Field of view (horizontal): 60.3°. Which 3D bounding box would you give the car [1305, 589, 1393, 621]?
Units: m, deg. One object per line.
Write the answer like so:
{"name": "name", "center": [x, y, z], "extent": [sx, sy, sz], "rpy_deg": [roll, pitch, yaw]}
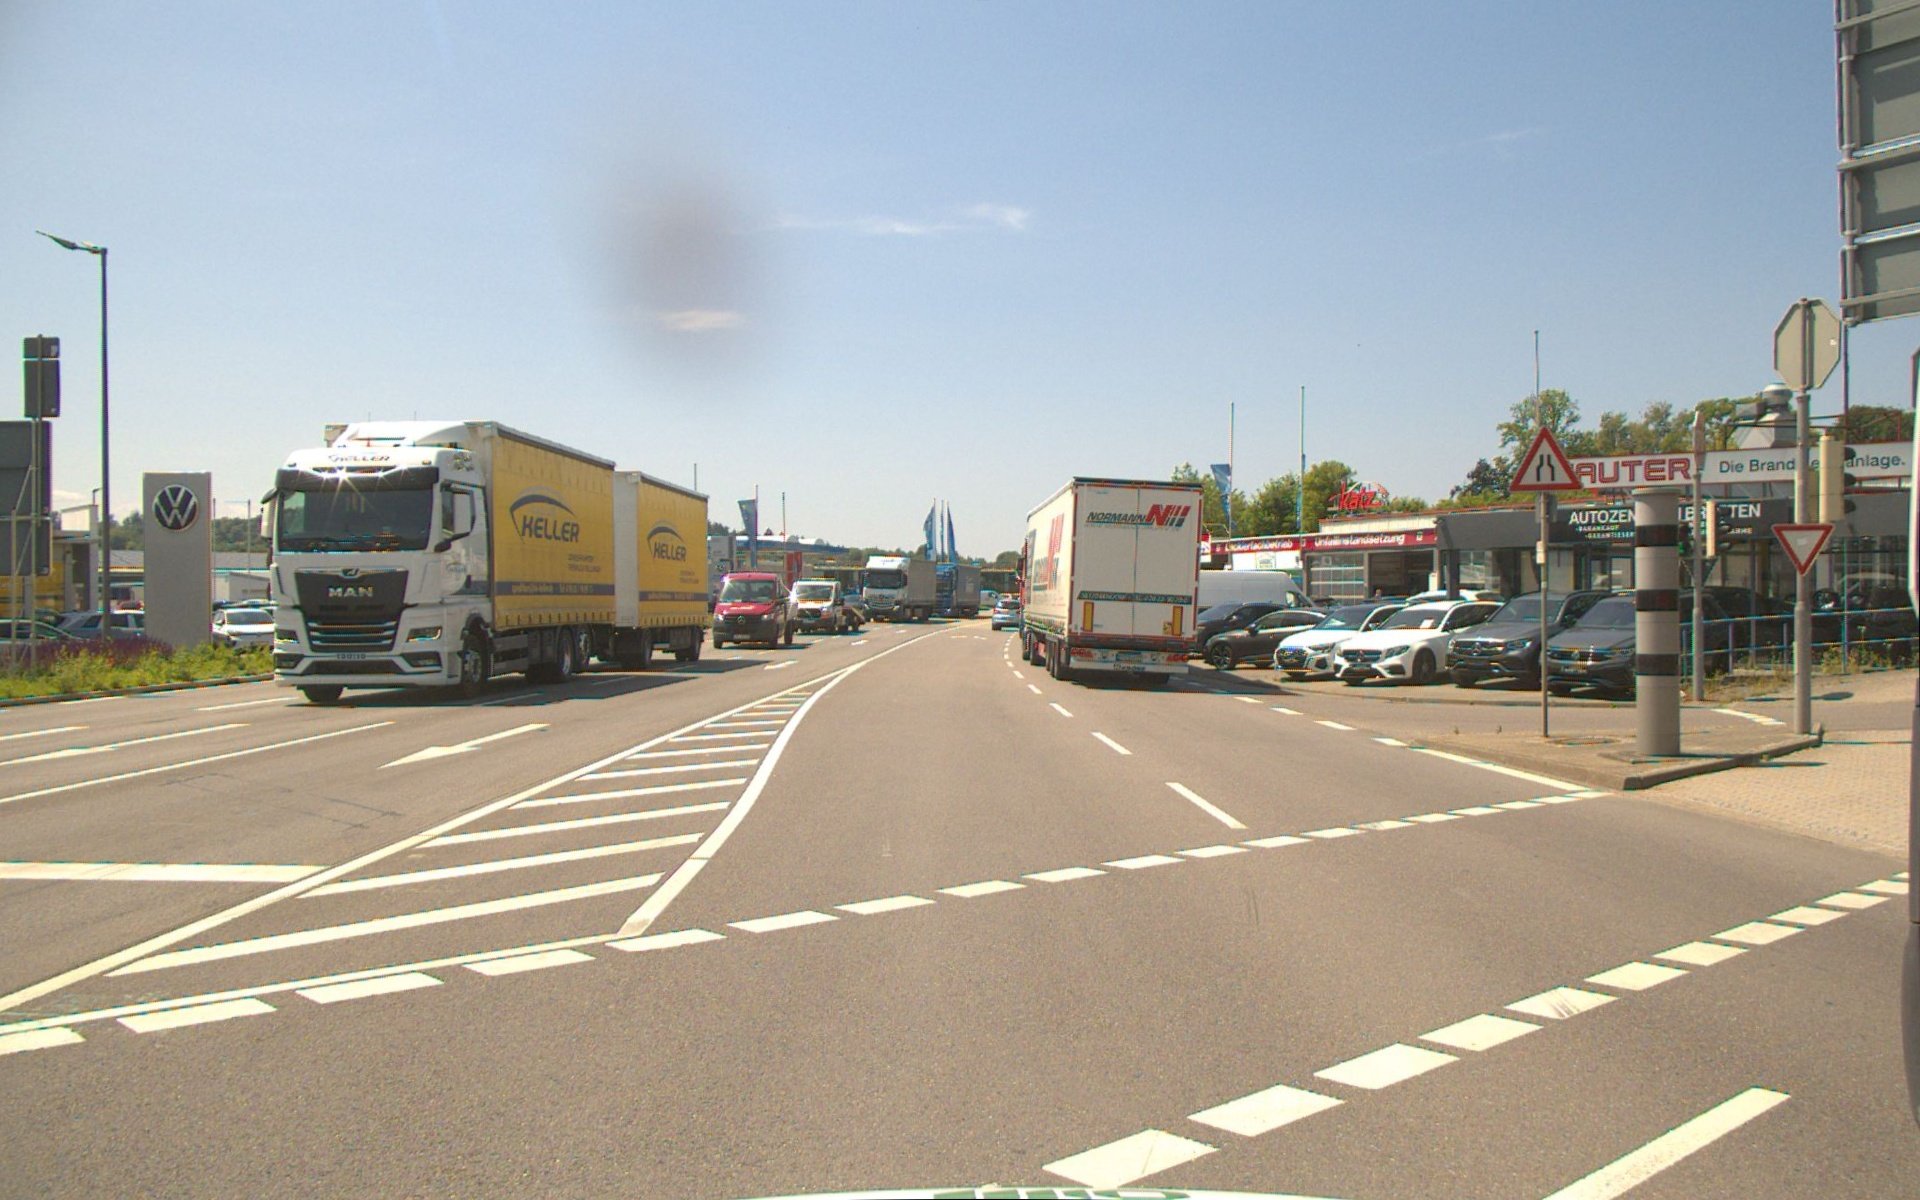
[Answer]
{"name": "car", "center": [17.500, 0.211, 74.471], "extent": [3.536, 1.398, 1.667], "rpy_deg": [1, 0, -21]}

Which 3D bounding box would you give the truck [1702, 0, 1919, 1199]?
{"name": "truck", "center": [3.533, -0.475, 1.284], "extent": [2.913, 4.080, 6.326], "rpy_deg": [-3, 0, -1]}

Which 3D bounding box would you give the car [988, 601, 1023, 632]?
{"name": "car", "center": [2.483, 0.916, 91.001], "extent": [1.884, 1.638, 4.095], "rpy_deg": [-1, 0, 1]}

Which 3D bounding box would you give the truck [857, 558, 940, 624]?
{"name": "truck", "center": [-3.819, -0.502, 108.350], "extent": [2.731, 3.957, 16.495], "rpy_deg": [0, 0, 7]}

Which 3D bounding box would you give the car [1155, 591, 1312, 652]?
{"name": "car", "center": [8.232, 0.619, 49.788], "extent": [4.273, 1.653, 2.044], "rpy_deg": [-2, 0, -26]}

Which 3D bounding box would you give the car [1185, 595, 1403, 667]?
{"name": "car", "center": [7.886, 0.764, 39.430], "extent": [1.913, 1.411, 4.857], "rpy_deg": [-3, -2, -43]}

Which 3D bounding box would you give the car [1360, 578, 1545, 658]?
{"name": "car", "center": [12.444, 0.481, 41.964], "extent": [1.840, 1.744, 4.083], "rpy_deg": [-2, -2, -43]}

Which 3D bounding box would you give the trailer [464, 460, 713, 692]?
{"name": "trailer", "center": [-7.867, -0.474, 36.682], "extent": [2.949, 4.362, 10.060], "rpy_deg": [-1, 0, 1]}

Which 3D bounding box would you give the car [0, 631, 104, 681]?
{"name": "car", "center": [-22.519, 1.332, 39.516], "extent": [1.531, 1.087, 3.359], "rpy_deg": [-1, 0, 34]}

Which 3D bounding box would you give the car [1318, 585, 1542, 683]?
{"name": "car", "center": [9.495, 0.639, 33.236], "extent": [4.695, 1.579, 1.972], "rpy_deg": [-5, 1, -39]}

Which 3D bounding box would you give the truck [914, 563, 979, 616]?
{"name": "truck", "center": [-0.908, -0.733, 130.190], "extent": [2.783, 3.957, 17.018], "rpy_deg": [0, 0, 7]}

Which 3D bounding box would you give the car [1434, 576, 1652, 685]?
{"name": "car", "center": [11.018, 0.534, 31.174], "extent": [4.131, 1.721, 1.860], "rpy_deg": [-4, 1, -37]}

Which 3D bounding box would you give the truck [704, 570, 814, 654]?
{"name": "truck", "center": [-6.335, 0.374, 52.941], "extent": [2.346, 2.487, 6.874], "rpy_deg": [0, 0, 3]}

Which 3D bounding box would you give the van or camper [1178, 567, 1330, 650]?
{"name": "van or camper", "center": [10.763, 0.307, 60.836], "extent": [5.256, 2.956, 2.233], "rpy_deg": [-1, 0, 3]}

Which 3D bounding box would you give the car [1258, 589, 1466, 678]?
{"name": "car", "center": [8.705, 0.693, 35.710], "extent": [4.420, 1.433, 1.727], "rpy_deg": [-6, 2, -32]}

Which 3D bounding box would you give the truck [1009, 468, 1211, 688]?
{"name": "truck", "center": [3.110, -0.424, 40.270], "extent": [2.913, 4.165, 17.629], "rpy_deg": [0, 0, -1]}

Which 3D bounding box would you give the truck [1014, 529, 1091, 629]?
{"name": "truck", "center": [3.850, -0.846, 71.336], "extent": [2.593, 3.873, 13.359], "rpy_deg": [-1, 0, 0]}

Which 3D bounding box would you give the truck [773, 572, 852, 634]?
{"name": "truck", "center": [-6.160, 0.110, 69.808], "extent": [2.374, 2.381, 5.678], "rpy_deg": [-3, 0, 4]}

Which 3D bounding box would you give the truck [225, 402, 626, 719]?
{"name": "truck", "center": [-8.190, -0.539, 27.283], "extent": [2.966, 4.177, 10.356], "rpy_deg": [-1, 0, 1]}

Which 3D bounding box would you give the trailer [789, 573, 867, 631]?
{"name": "trailer", "center": [-5.837, 0.098, 74.312], "extent": [2.377, 2.379, 6.900], "rpy_deg": [-3, 0, 4]}

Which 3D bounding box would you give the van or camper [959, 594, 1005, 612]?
{"name": "van or camper", "center": [2.374, 0.304, 179.646], "extent": [4.744, 1.938, 1.906], "rpy_deg": [0, 0, 10]}

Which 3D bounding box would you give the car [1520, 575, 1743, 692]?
{"name": "car", "center": [11.916, 0.554, 29.252], "extent": [4.145, 1.721, 1.858], "rpy_deg": [-4, 1, -39]}
